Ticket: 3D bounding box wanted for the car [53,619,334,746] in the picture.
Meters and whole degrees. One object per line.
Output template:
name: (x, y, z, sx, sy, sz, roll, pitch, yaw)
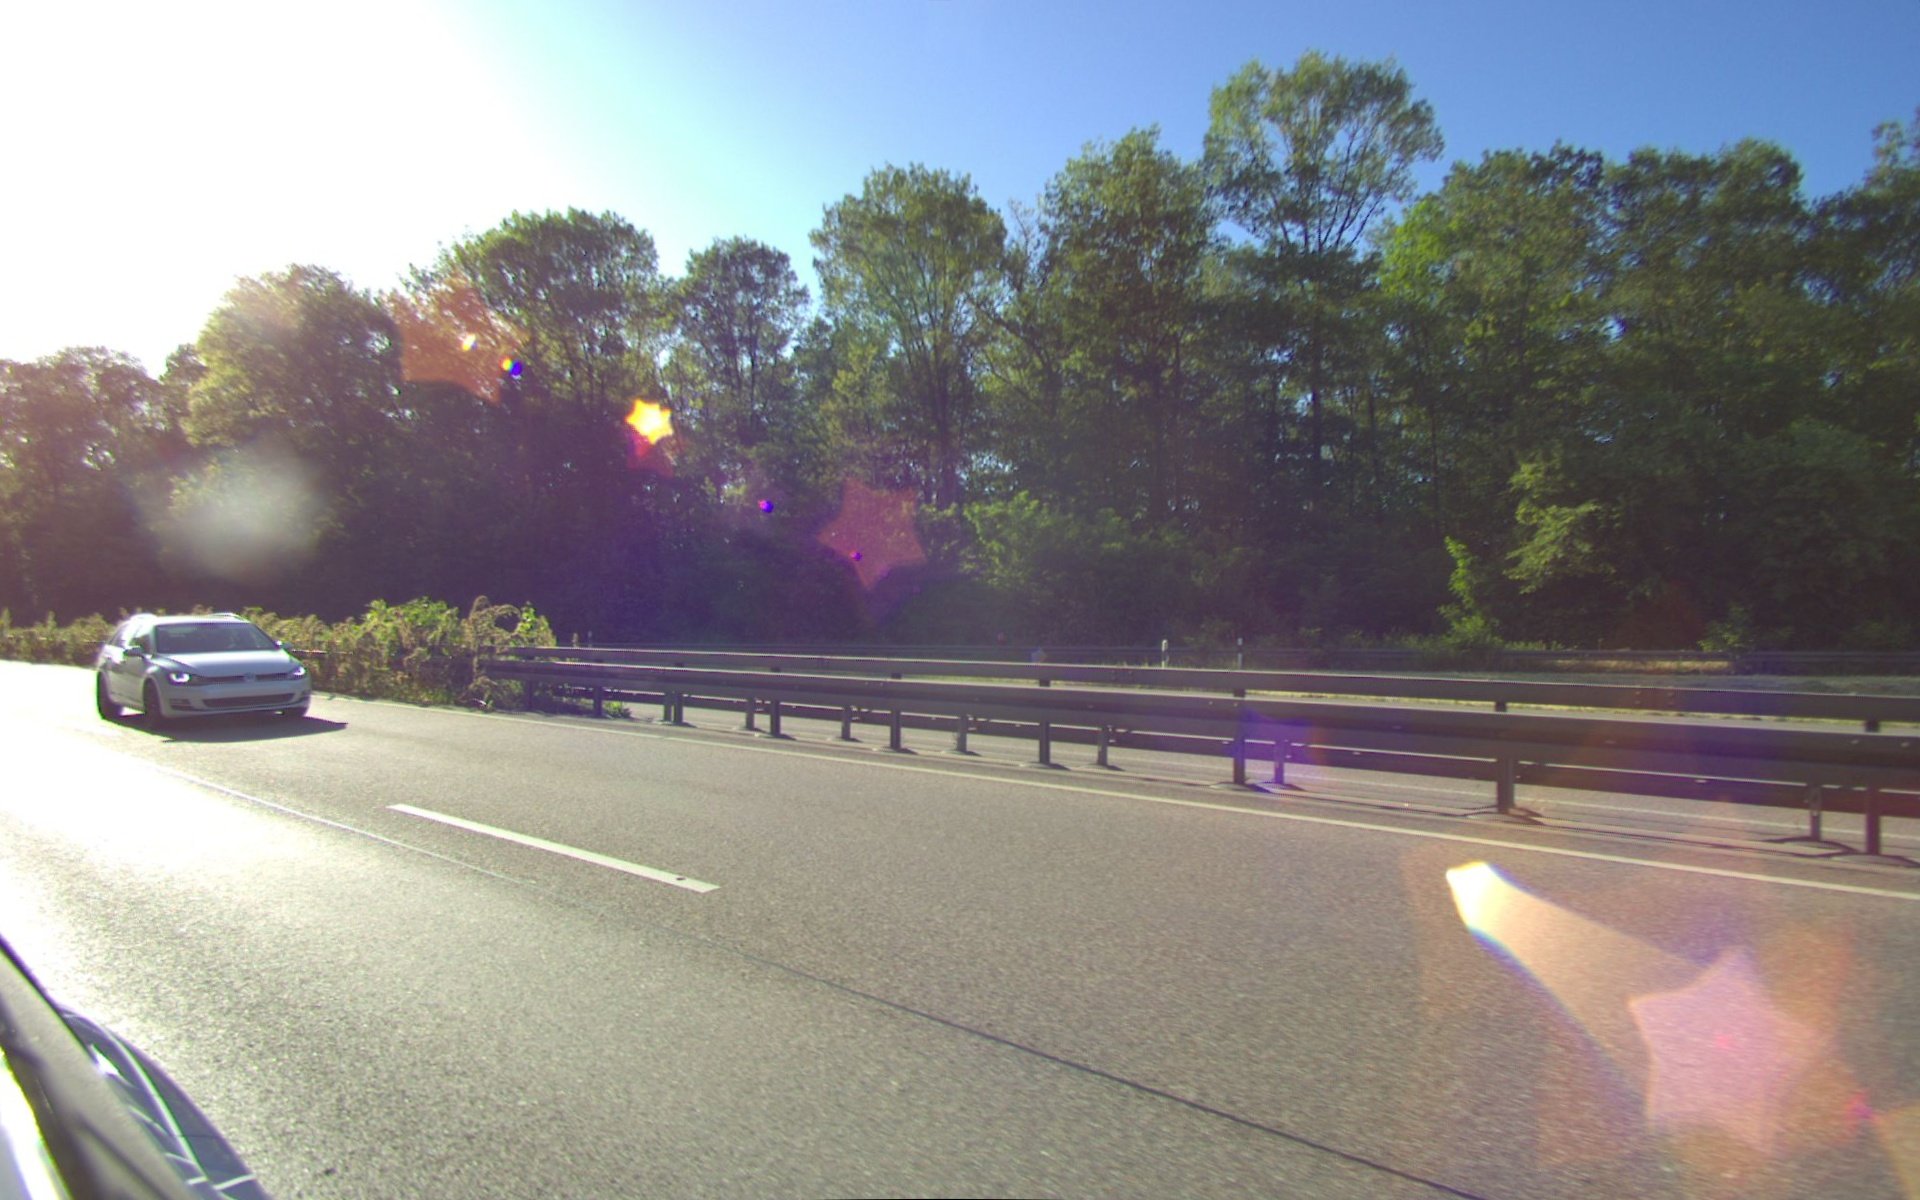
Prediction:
car: (-11.335, 1.082, 14.790, 5.591, 1.519, 1.911, -2, -1, 38)
